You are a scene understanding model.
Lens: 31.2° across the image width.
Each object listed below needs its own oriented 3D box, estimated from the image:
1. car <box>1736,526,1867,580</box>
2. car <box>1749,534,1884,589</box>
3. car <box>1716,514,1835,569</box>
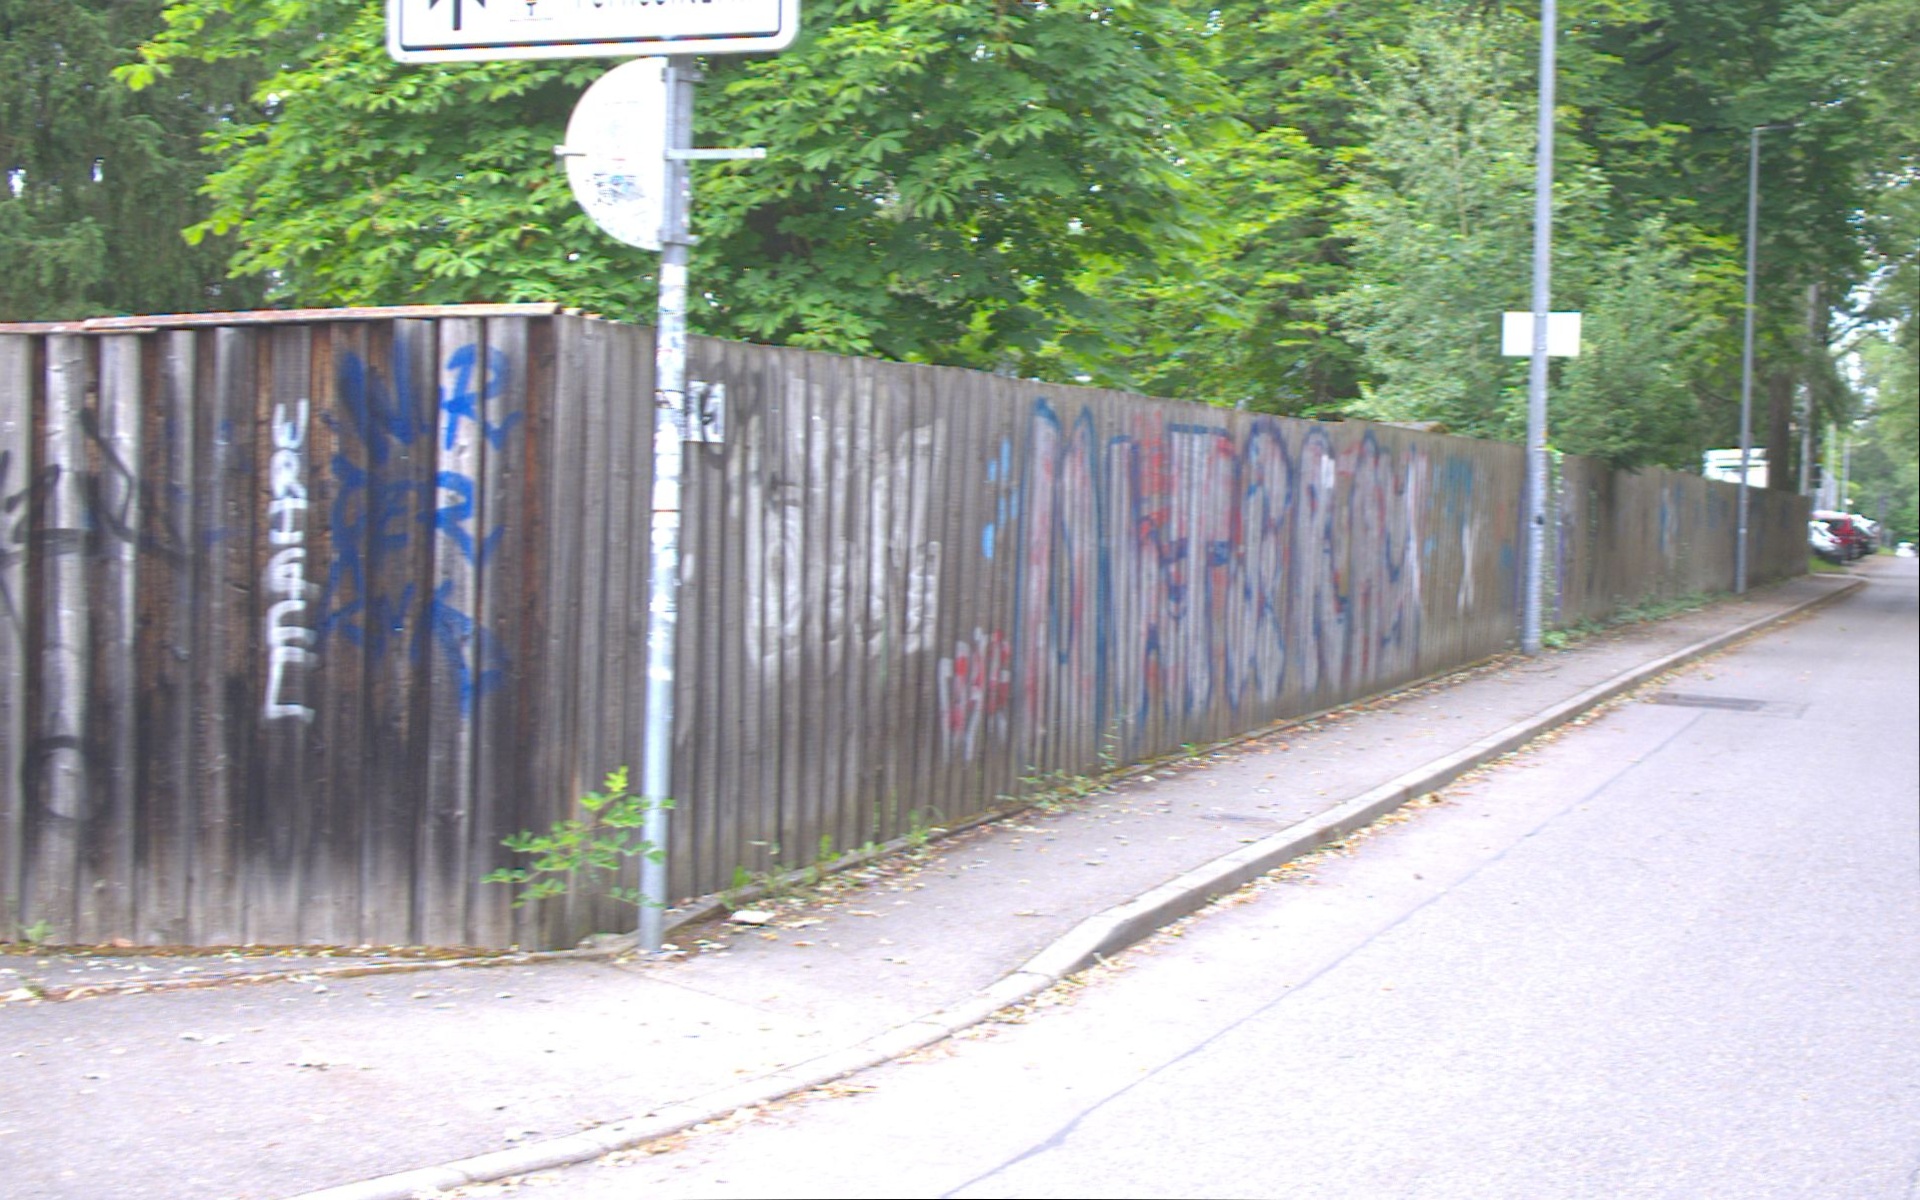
[{"bbox_3d":[26.933,-1.523,110.101,3.989,1.568,1.999,2,2,13],"label":"car"},{"bbox_3d":[26.805,-1.212,107.702,3.989,1.568,1.999,2,1,13],"label":"car"},{"bbox_3d":[28.629,-2.058,120.713,3.989,1.744,1.999,2,2,13],"label":"car"}]
